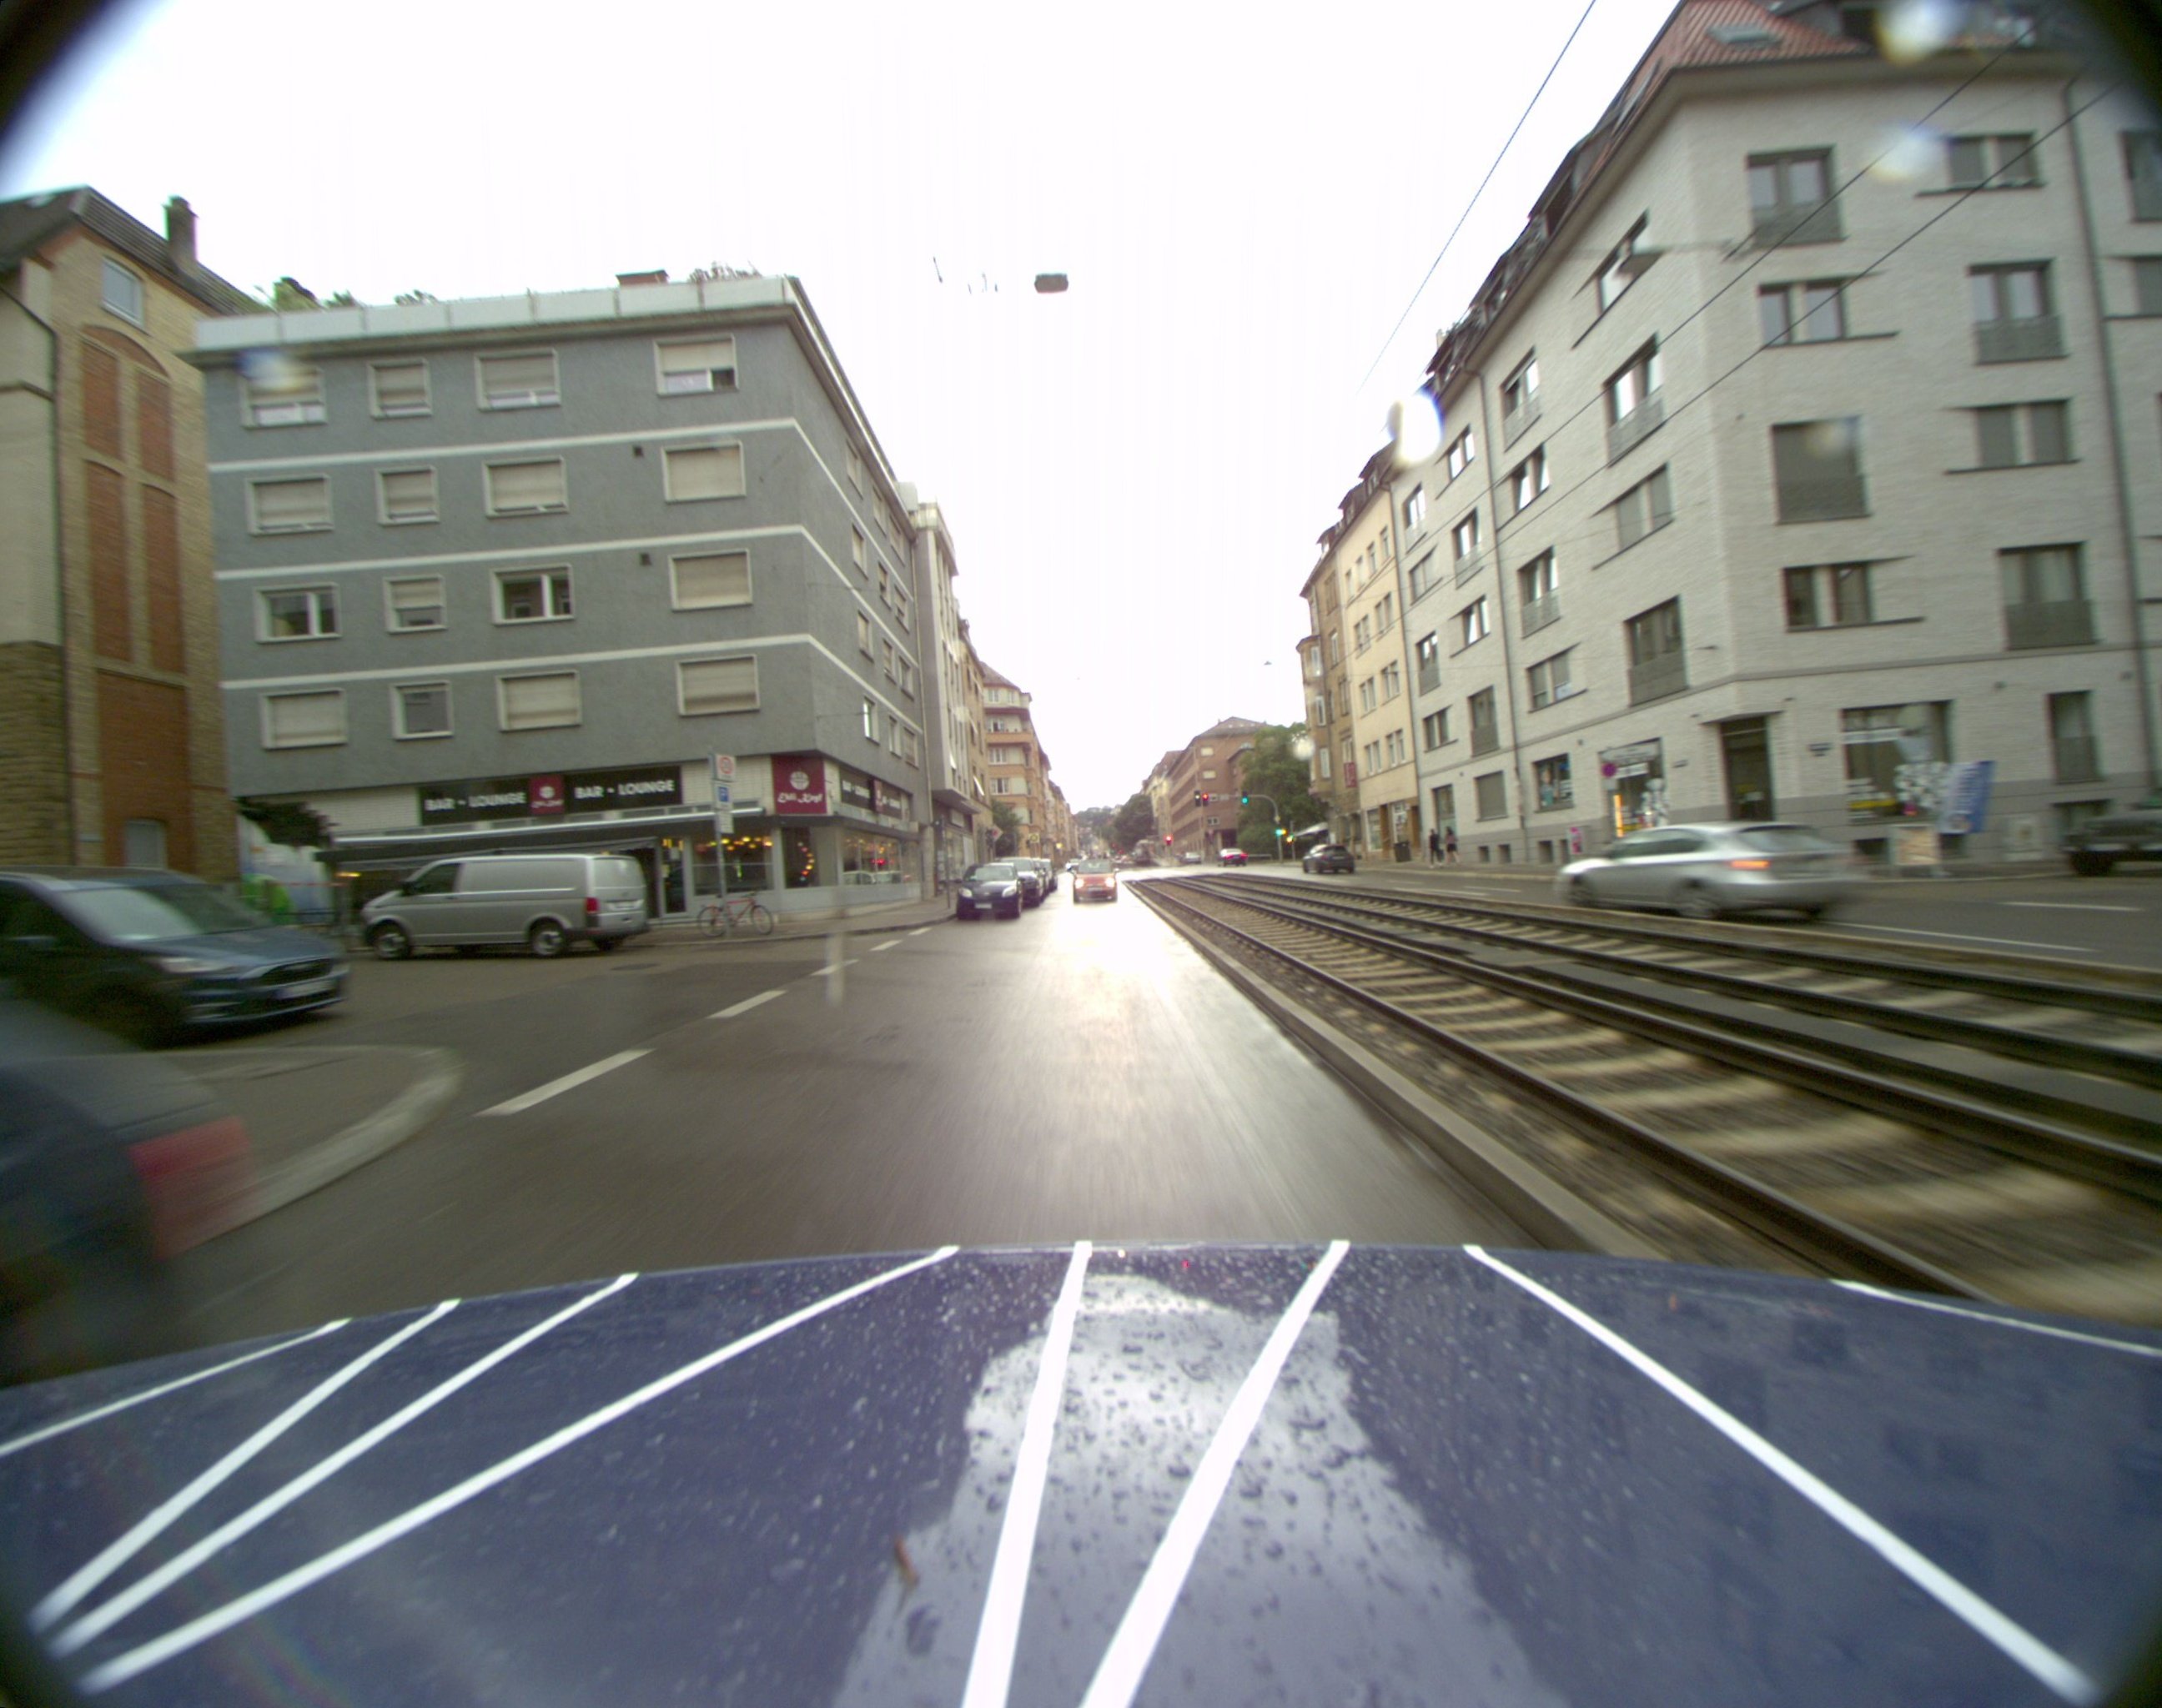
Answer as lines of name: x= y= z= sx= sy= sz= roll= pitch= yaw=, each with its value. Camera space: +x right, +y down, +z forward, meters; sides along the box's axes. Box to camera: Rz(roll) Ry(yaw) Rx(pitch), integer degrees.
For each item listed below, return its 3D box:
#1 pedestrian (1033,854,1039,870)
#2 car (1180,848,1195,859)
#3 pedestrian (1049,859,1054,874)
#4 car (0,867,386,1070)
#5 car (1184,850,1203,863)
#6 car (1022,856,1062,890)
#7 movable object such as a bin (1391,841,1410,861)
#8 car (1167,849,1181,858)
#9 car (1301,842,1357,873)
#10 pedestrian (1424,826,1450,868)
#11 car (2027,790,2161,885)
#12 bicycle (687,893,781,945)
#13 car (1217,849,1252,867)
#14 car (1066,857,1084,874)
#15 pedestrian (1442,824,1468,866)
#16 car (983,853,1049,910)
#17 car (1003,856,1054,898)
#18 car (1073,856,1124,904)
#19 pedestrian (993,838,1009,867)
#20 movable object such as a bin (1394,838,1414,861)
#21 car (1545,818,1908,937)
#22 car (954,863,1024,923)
pedestrian: x=-4.620 y=0.838 z=78.216 sx=0.579 sy=1.563 sz=0.438 roll=-3 pitch=1 yaw=0
car: x=14.543 y=-0.069 z=103.700 sx=1.631 sy=1.442 sz=3.388 roll=-3 pitch=0 yaw=1
pedestrian: x=-3.191 y=1.325 z=81.820 sx=0.437 sy=1.642 sz=0.580 roll=-3 pitch=1 yaw=0
car: x=-10.755 y=1.111 z=8.119 sx=4.790 sy=1.851 sz=2.000 roll=-1 pitch=0 yaw=0
car: x=13.478 y=0.303 z=91.182 sx=1.717 sy=1.452 sz=4.643 roll=-3 pitch=0 yaw=2
car: x=-1.919 y=0.919 z=38.621 sx=1.715 sy=1.604 sz=4.519 roll=-2 pitch=0 yaw=1
movable object such as a bin: x=16.550 y=-0.152 z=39.343 sx=0.631 sy=0.922 sz=0.563 roll=-8 pitch=0 yaw=1
car: x=15.317 y=-0.137 z=125.487 sx=1.781 sy=1.328 sz=3.945 roll=-3 pitch=0 yaw=1
car: x=12.272 y=0.166 z=37.822 sx=1.708 sy=1.379 sz=3.782 roll=-3 pitch=0 yaw=4
pedestrian: x=15.112 y=-0.289 z=32.237 sx=0.603 sy=1.708 sz=0.746 roll=-6 pitch=0 yaw=4
car: x=21.664 y=-0.432 z=14.519 sx=4.704 sy=1.718 sz=2.034 roll=-3 pitch=0 yaw=-2
bicycle: x=-7.570 y=1.413 z=16.611 sx=1.753 sy=0.967 sz=0.533 roll=-4 pitch=0 yaw=2
car: x=12.964 y=0.321 z=64.442 sx=2.093 sy=1.449 sz=4.860 roll=-2 pitch=0 yaw=3
car: x=-0.746 y=1.498 z=99.344 sx=2.135 sy=2.002 sz=4.328 roll=-3 pitch=0 yaw=1
pedestrian: x=15.820 y=-0.359 z=32.142 sx=0.603 sy=1.708 sz=0.658 roll=-6 pitch=0 yaw=4
car: x=-2.196 y=0.893 z=26.767 sx=1.797 sy=1.750 sz=4.566 roll=-3 pitch=0 yaw=0
car: x=-2.209 y=0.927 z=33.008 sx=1.822 sy=1.645 sz=4.250 roll=-2 pitch=0 yaw=1
car: x=0.628 y=0.891 z=27.847 sx=1.683 sy=1.531 sz=4.018 roll=-2 pitch=0 yaw=1
pedestrian: x=-5.122 y=-0.097 z=48.538 sx=0.852 sy=1.807 sz=0.847 roll=-2 pitch=1 yaw=1
movable object such as a bin: x=16.439 y=-0.229 z=38.673 sx=0.631 sy=1.074 sz=0.563 roll=-8 pitch=0 yaw=1
car: x=9.608 y=0.303 z=11.903 sx=1.986 sy=1.448 sz=4.294 roll=-3 pitch=0 yaw=0
car: x=-2.537 y=1.028 z=21.698 sx=1.696 sy=1.474 sz=3.928 roll=-2 pitch=0 yaw=-3
